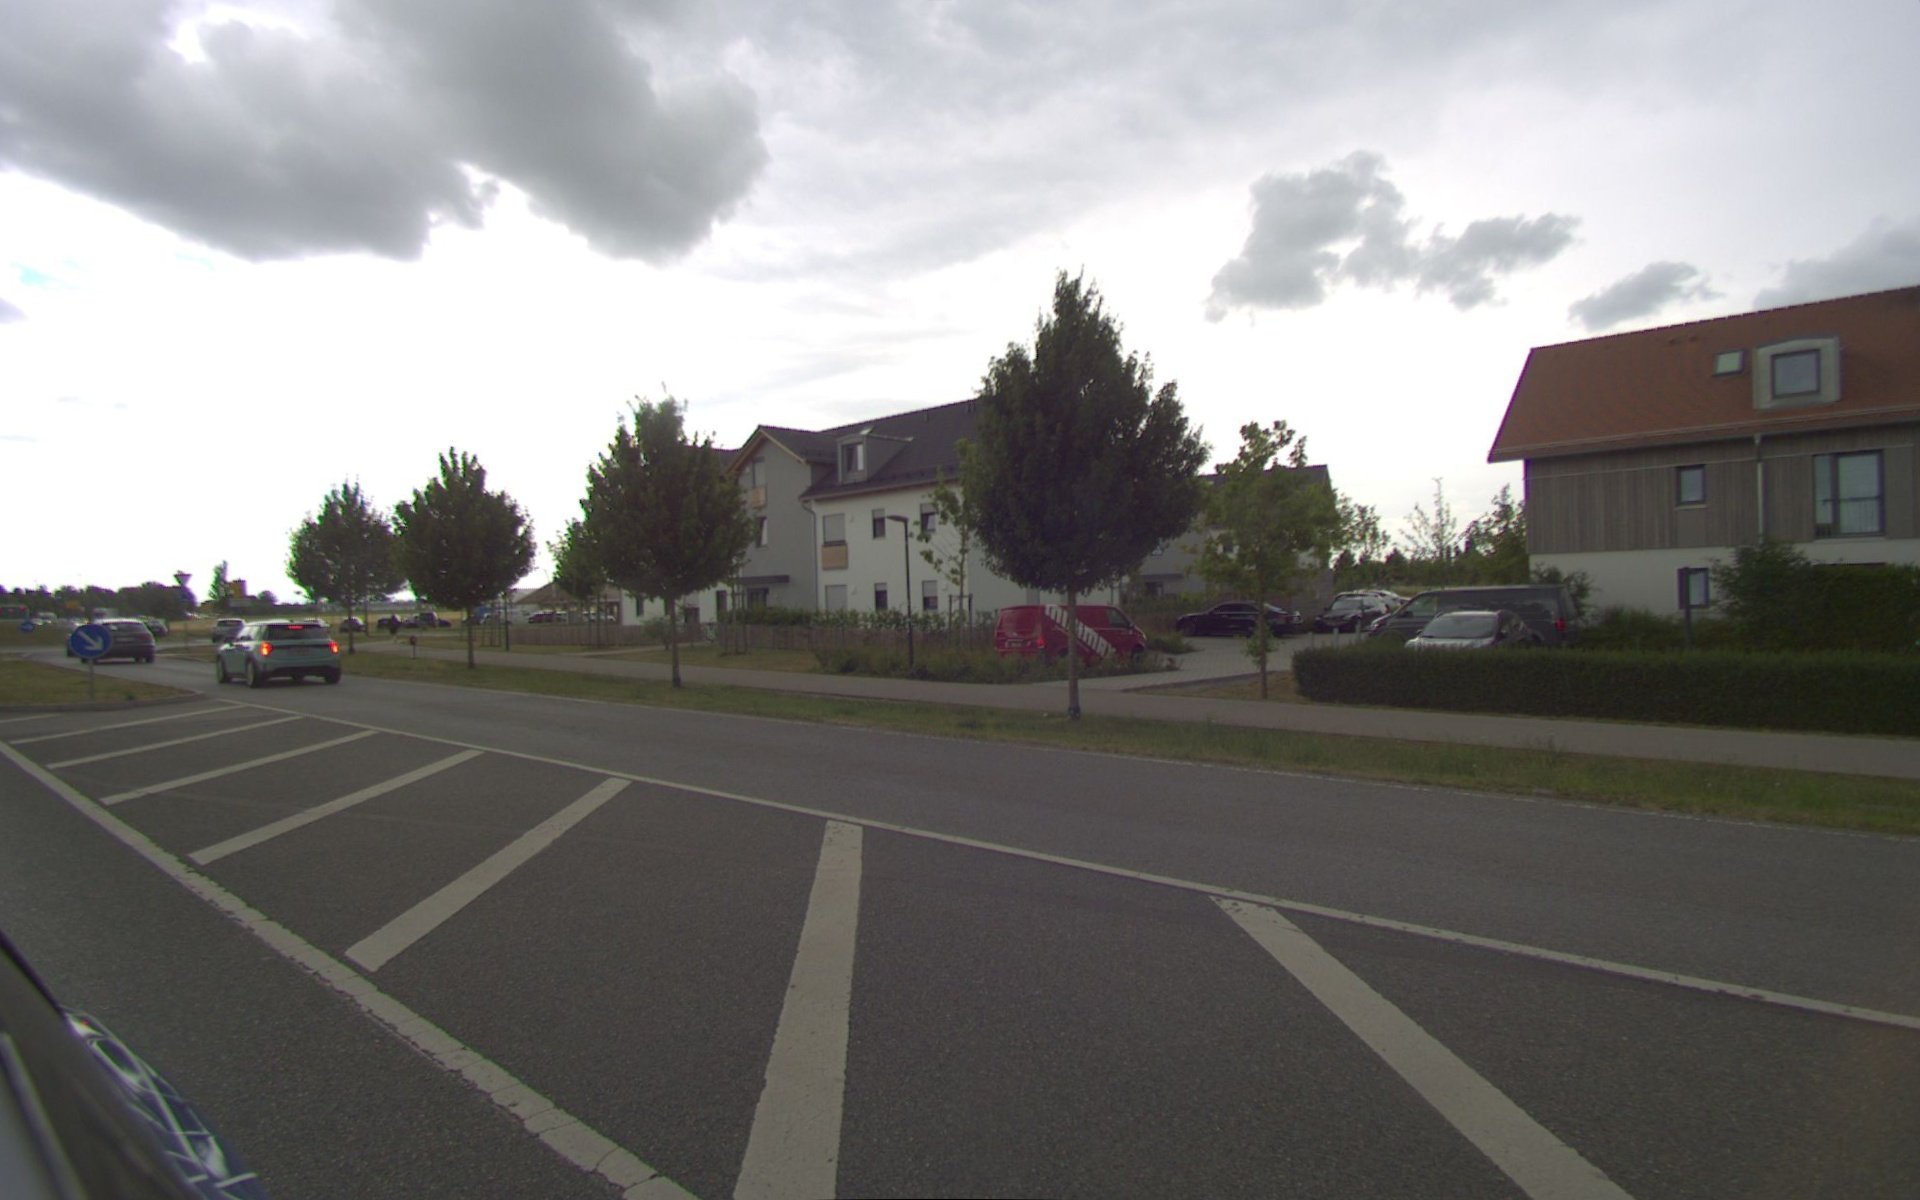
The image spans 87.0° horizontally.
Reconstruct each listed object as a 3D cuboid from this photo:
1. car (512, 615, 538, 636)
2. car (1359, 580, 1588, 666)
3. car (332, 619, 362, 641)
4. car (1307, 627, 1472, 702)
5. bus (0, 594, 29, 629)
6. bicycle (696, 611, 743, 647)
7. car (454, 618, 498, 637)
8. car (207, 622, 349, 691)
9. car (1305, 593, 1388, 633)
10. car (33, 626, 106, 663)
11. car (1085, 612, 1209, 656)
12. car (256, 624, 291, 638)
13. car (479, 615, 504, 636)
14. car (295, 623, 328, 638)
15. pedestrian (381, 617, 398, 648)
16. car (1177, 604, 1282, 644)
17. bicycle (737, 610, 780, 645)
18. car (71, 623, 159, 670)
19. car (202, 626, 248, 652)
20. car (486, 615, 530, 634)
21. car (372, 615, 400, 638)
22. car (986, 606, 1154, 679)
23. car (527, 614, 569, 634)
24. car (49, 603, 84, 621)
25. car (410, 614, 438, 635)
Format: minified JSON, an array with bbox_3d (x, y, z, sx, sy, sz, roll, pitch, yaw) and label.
[{"bbox_3d":[-43.626,2.531,101.539,2.194,2.029,4.013,0,-1,-21],"label":"car"},{"bbox_3d":[13.966,0.624,27.764,5.202,2.028,1.972,-2,2,44],"label":"car"},{"bbox_3d":[-57.178,2.808,94.476,1.965,2.029,4.013,0,-2,-24],"label":"car"},{"bbox_3d":[9.731,1.370,22.701,1.906,1.441,4.853,-2,-2,42],"label":"car"},{"bbox_3d":[-93.150,1.201,98.776,6.485,3.305,2.951,-2,-2,43],"label":"bus"},{"bbox_3d":[-9.908,1.200,41.634,2.342,1.423,0.675,-2,-2,41],"label":"bicycle"},{"bbox_3d":[-53.003,2.960,110.816,1.991,2.029,3.961,-2,-2,29],"label":"car"},{"bbox_3d":[-15.734,1.252,23.280,3.998,1.454,1.751,-2,-2,41],"label":"car"},{"bbox_3d":[16.604,0.571,43.399,2.000,1.598,3.943,-2,-2,43],"label":"car"},{"bbox_3d":[-38.079,1.882,43.256,4.348,1.500,1.806,-2,-2,42],"label":"car"},{"bbox_3d":[6.778,1.221,36.939,3.998,1.519,1.972,-2,-2,41],"label":"car"},{"bbox_3d":[-62.448,2.819,92.087,1.965,1.298,4.013,0,-2,-24],"label":"car"},{"bbox_3d":[-46.857,2.565,101.260,1.965,2.029,4.013,0,-1,-21],"label":"car"},{"bbox_3d":[-59.627,2.807,93.095,1.965,1.298,4.013,0,-2,-24],"label":"car"},{"bbox_3d":[-29.478,1.690,52.289,0.586,1.541,0.540,-2,1,41],"label":"pedestrian"},{"bbox_3d":[11.003,0.991,41.338,3.971,1.538,1.563,-1,-2,21],"label":"car"},{"bbox_3d":[-8.543,1.173,42.823,2.093,1.439,0.675,-2,-2,41],"label":"bicycle"},{"bbox_3d":[-30.375,1.642,36.329,4.214,1.594,1.806,-2,-2,42],"label":"car"},{"bbox_3d":[-44.772,2.374,61.608,1.803,1.500,4.220,1,-2,-42],"label":"car"},{"bbox_3d":[-49.375,2.683,110.587,1.994,2.029,3.956,-2,-2,32],"label":"car"},{"bbox_3d":[-54.036,2.502,95.347,1.965,2.029,4.013,0,-2,-24],"label":"car"},{"bbox_3d":[3.109,1.104,27.870,4.848,1.830,1.908,1,-2,-44],"label":"car"},{"bbox_3d":[-44.664,2.605,109.797,1.991,2.029,3.961,-2,-2,29],"label":"car"},{"bbox_3d":[-75.277,1.047,85.223,3.998,1.454,1.751,-2,-2,41],"label":"car"},{"bbox_3d":[-51.090,2.339,96.419,1.966,2.029,4.011,0,-2,-34],"label":"car"}]
